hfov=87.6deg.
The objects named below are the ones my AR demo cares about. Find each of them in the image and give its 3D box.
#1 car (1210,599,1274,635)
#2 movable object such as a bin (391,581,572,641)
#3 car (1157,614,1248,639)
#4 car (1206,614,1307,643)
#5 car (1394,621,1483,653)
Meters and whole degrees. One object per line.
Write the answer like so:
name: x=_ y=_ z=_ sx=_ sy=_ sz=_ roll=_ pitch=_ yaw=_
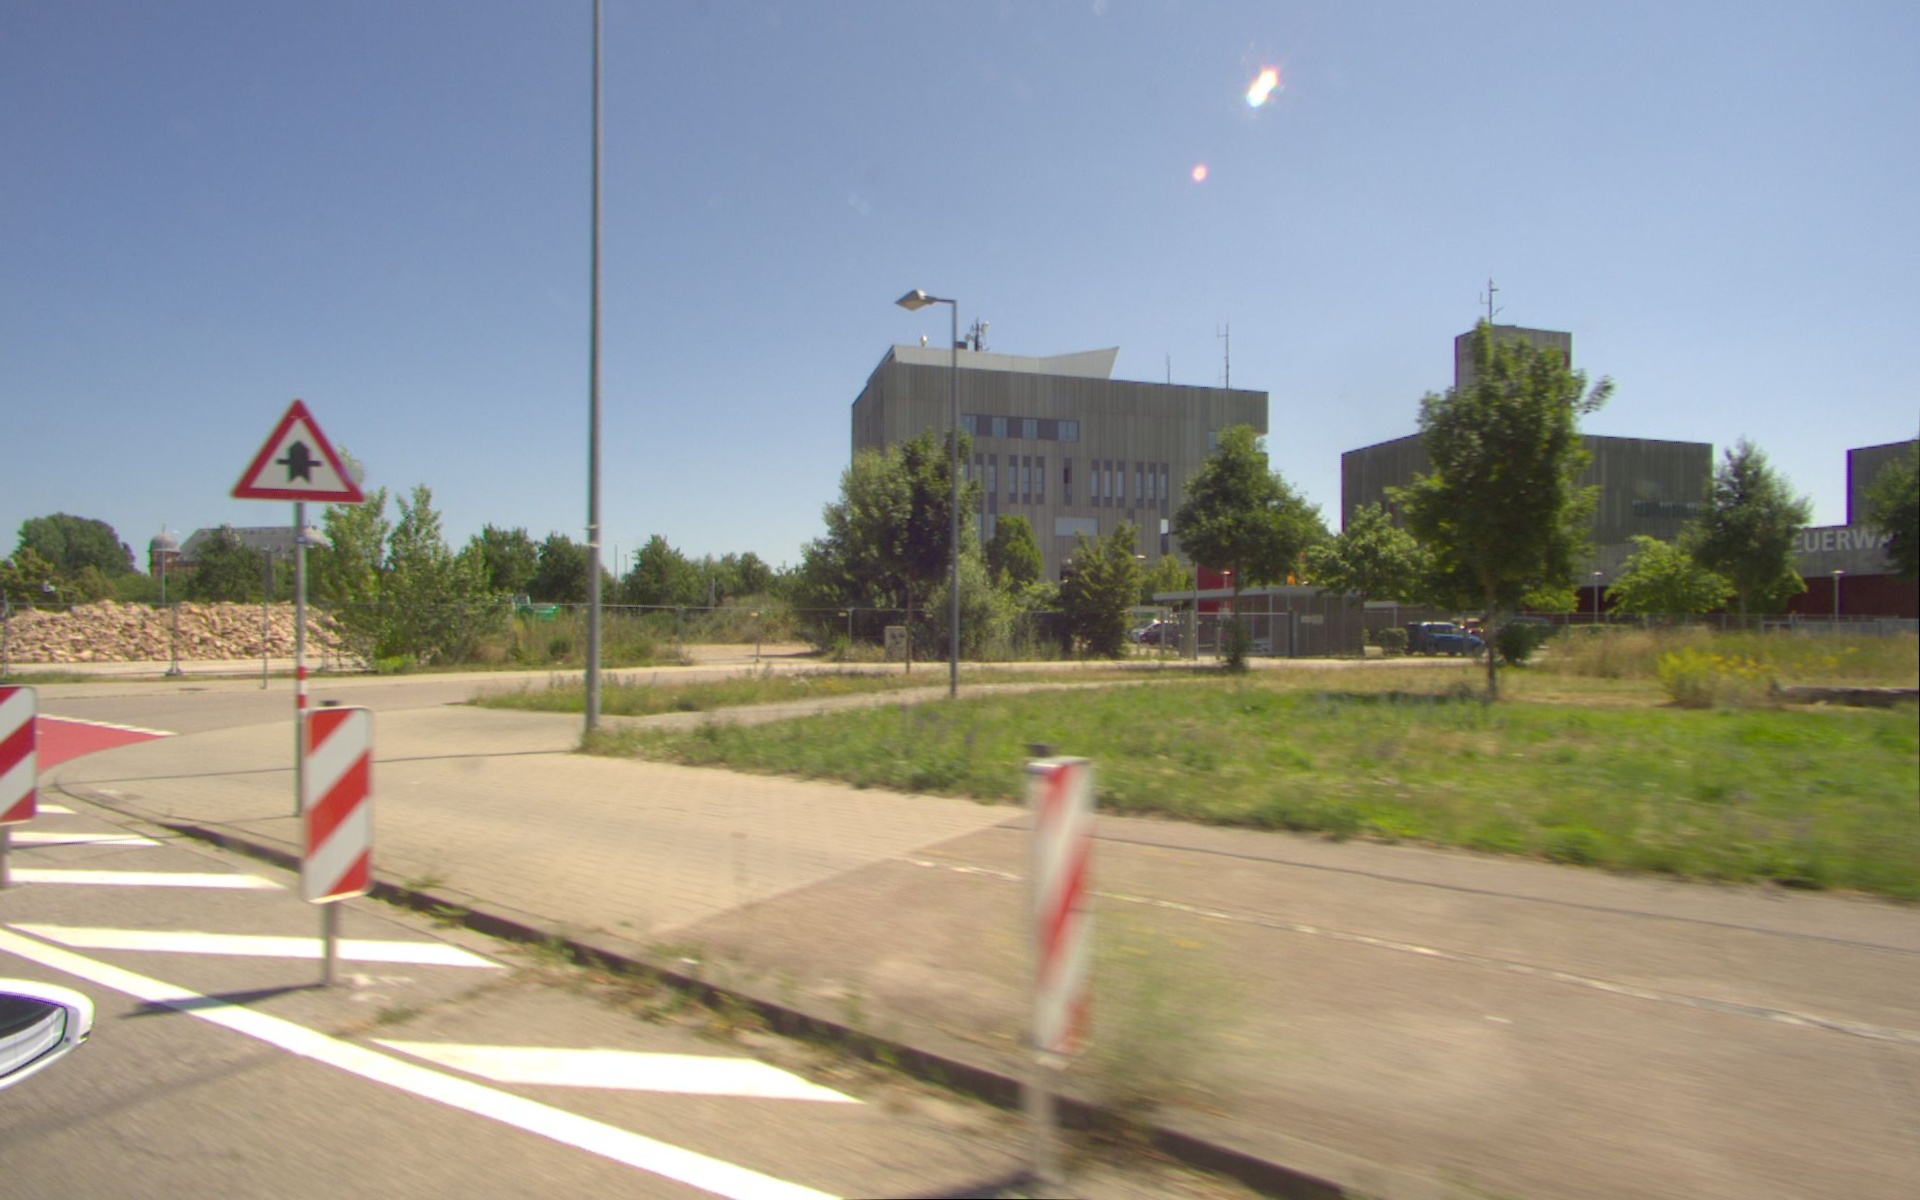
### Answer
car: x=18.744 y=1.139 z=66.625 sx=3.785 sy=2.324 sz=1.740 roll=0 pitch=0 yaw=-15
movable object such as a bin: x=-28.582 y=0.665 z=59.715 sx=10.314 sy=3.303 sz=4.932 roll=0 pitch=-1 yaw=31
car: x=14.485 y=1.539 z=59.794 sx=4.990 sy=1.455 sz=1.996 roll=0 pitch=0 yaw=-17
car: x=15.806 y=1.502 z=53.535 sx=4.826 sy=1.455 sz=1.998 roll=0 pitch=0 yaw=-12
car: x=23.713 y=1.825 z=49.634 sx=3.930 sy=1.510 sz=1.652 roll=0 pitch=0 yaw=-17
